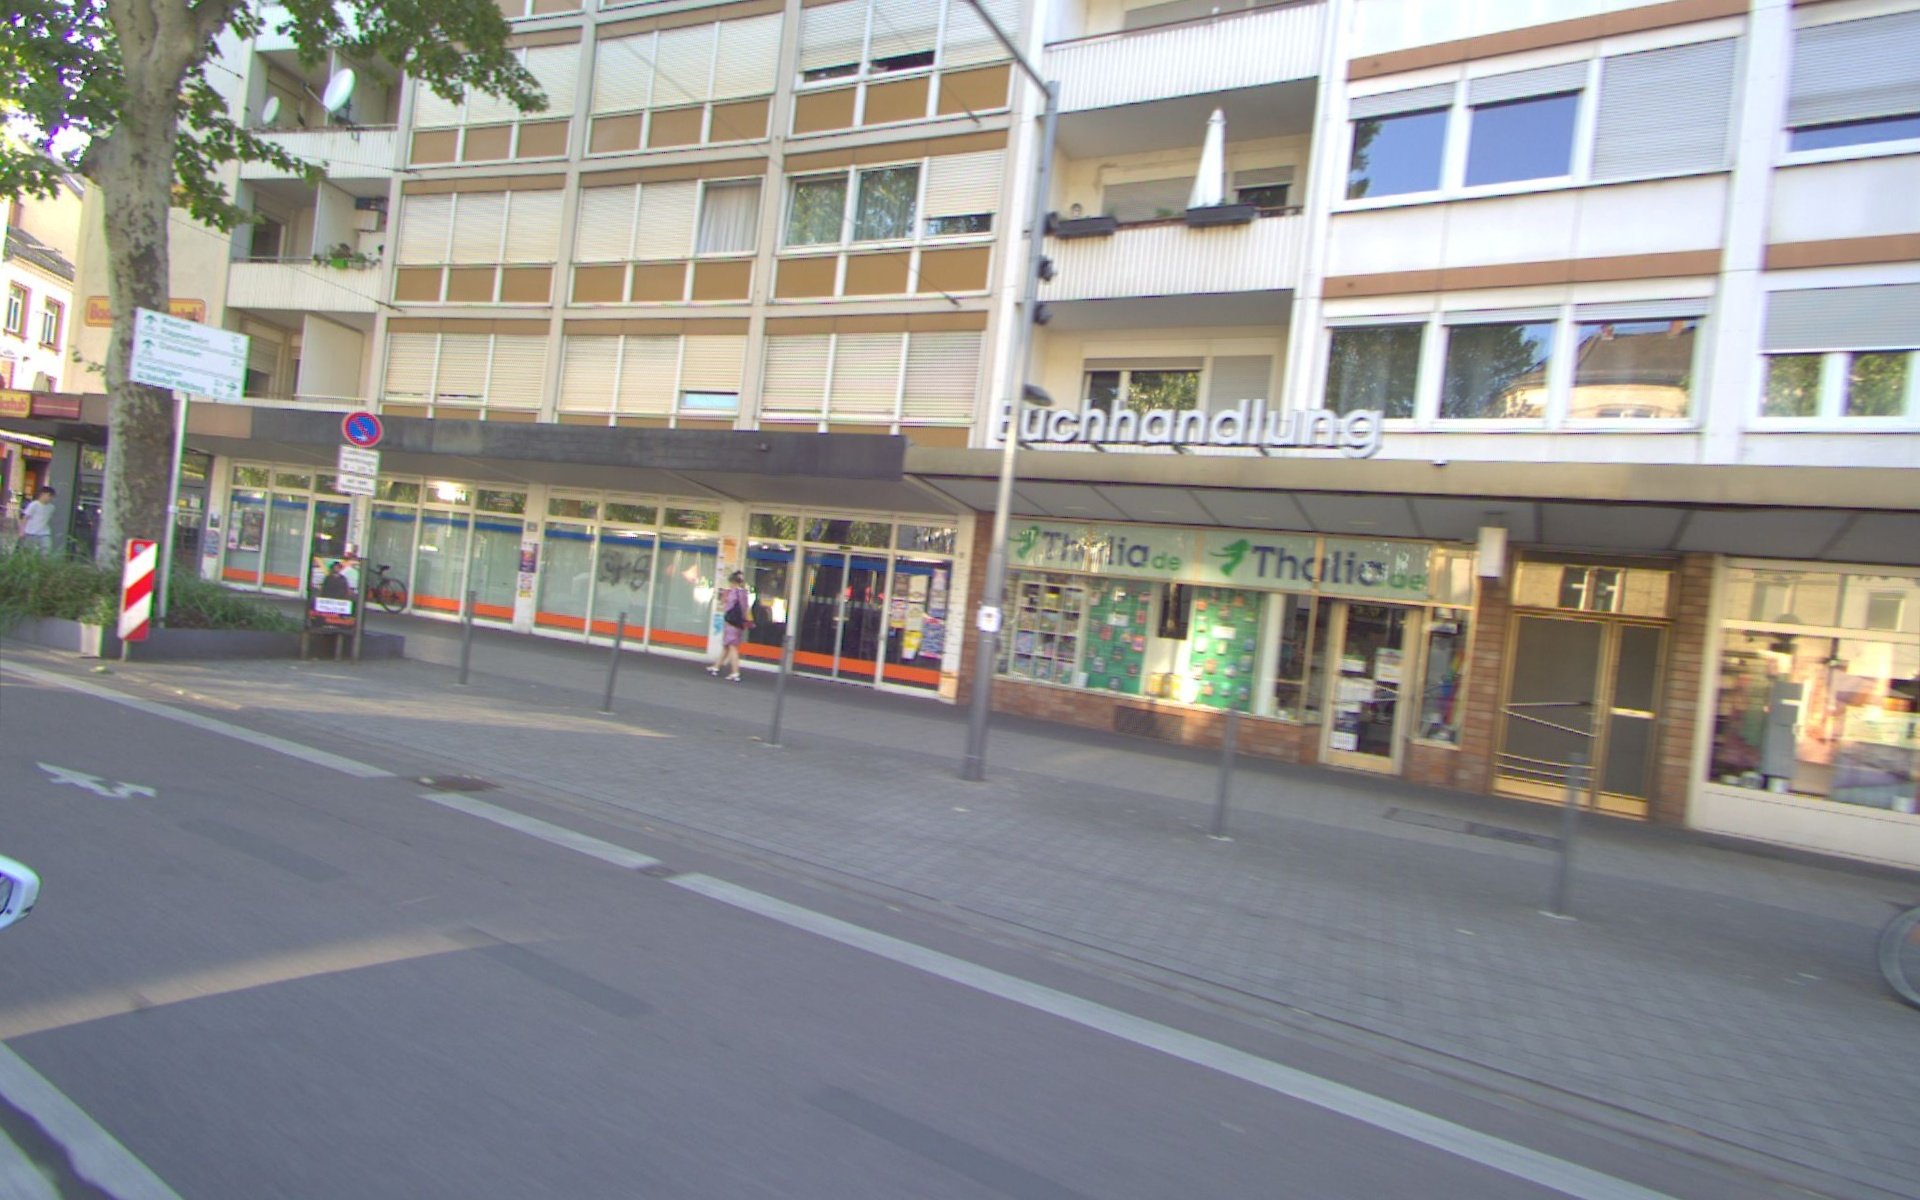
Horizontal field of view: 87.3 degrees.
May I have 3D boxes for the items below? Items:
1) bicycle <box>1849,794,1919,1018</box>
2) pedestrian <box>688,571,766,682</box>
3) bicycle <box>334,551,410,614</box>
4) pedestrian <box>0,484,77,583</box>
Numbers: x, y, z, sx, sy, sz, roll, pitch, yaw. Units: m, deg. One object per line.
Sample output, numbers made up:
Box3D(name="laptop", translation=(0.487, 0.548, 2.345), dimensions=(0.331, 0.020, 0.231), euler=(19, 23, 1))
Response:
Box3D(name="bicycle", translation=(5.743, 1.716, 5.131), dimensions=(1.633, 1.084, 0.511), euler=(7, 2, 29))
Box3D(name="pedestrian", translation=(-3.530, 0.402, 15.277), dimensions=(0.793, 1.571, 0.640), euler=(7, 1, 25))
Box3D(name="bicycle", translation=(-11.948, -0.356, 20.444), dimensions=(1.434, 1.107, 0.438), euler=(7, 3, 19))
Box3D(name="pedestrian", translation=(-17.480, -1.250, 18.985), dimensions=(0.778, 1.735, 0.837), euler=(7, 2, 15))
